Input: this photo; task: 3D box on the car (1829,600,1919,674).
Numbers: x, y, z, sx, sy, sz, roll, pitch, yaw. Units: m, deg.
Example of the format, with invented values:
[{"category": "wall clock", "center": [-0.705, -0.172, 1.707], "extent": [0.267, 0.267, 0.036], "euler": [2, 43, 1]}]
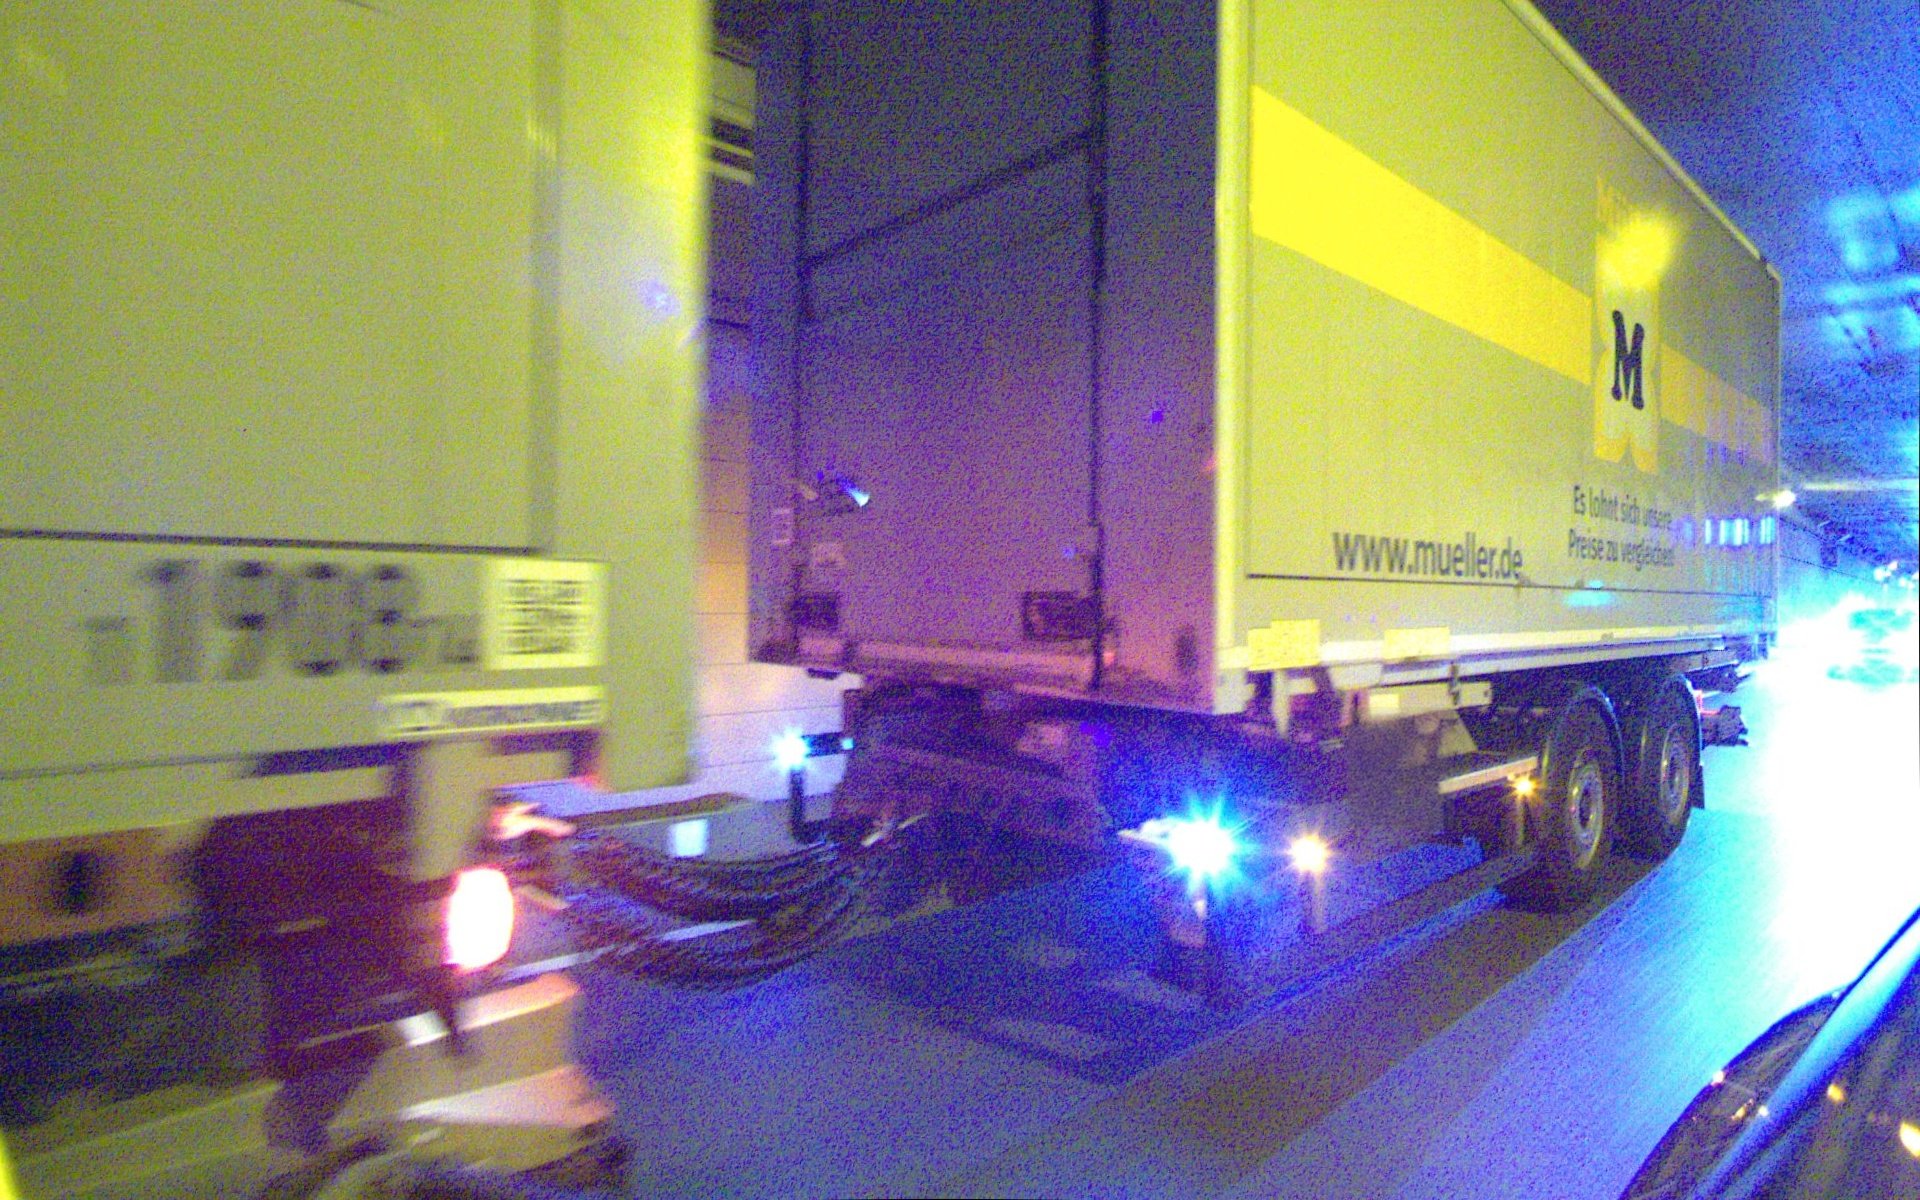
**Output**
[{"category": "car", "center": [19.881, 0.728, 21.455], "extent": [3.734, 1.421, 1.733], "euler": [-1, 0, -42]}]

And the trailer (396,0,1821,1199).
[{"category": "trailer", "center": [2.105, -0.634, 5.676], "extent": [8.792, 3.906, 2.880], "euler": [0, 1, -41]}]
